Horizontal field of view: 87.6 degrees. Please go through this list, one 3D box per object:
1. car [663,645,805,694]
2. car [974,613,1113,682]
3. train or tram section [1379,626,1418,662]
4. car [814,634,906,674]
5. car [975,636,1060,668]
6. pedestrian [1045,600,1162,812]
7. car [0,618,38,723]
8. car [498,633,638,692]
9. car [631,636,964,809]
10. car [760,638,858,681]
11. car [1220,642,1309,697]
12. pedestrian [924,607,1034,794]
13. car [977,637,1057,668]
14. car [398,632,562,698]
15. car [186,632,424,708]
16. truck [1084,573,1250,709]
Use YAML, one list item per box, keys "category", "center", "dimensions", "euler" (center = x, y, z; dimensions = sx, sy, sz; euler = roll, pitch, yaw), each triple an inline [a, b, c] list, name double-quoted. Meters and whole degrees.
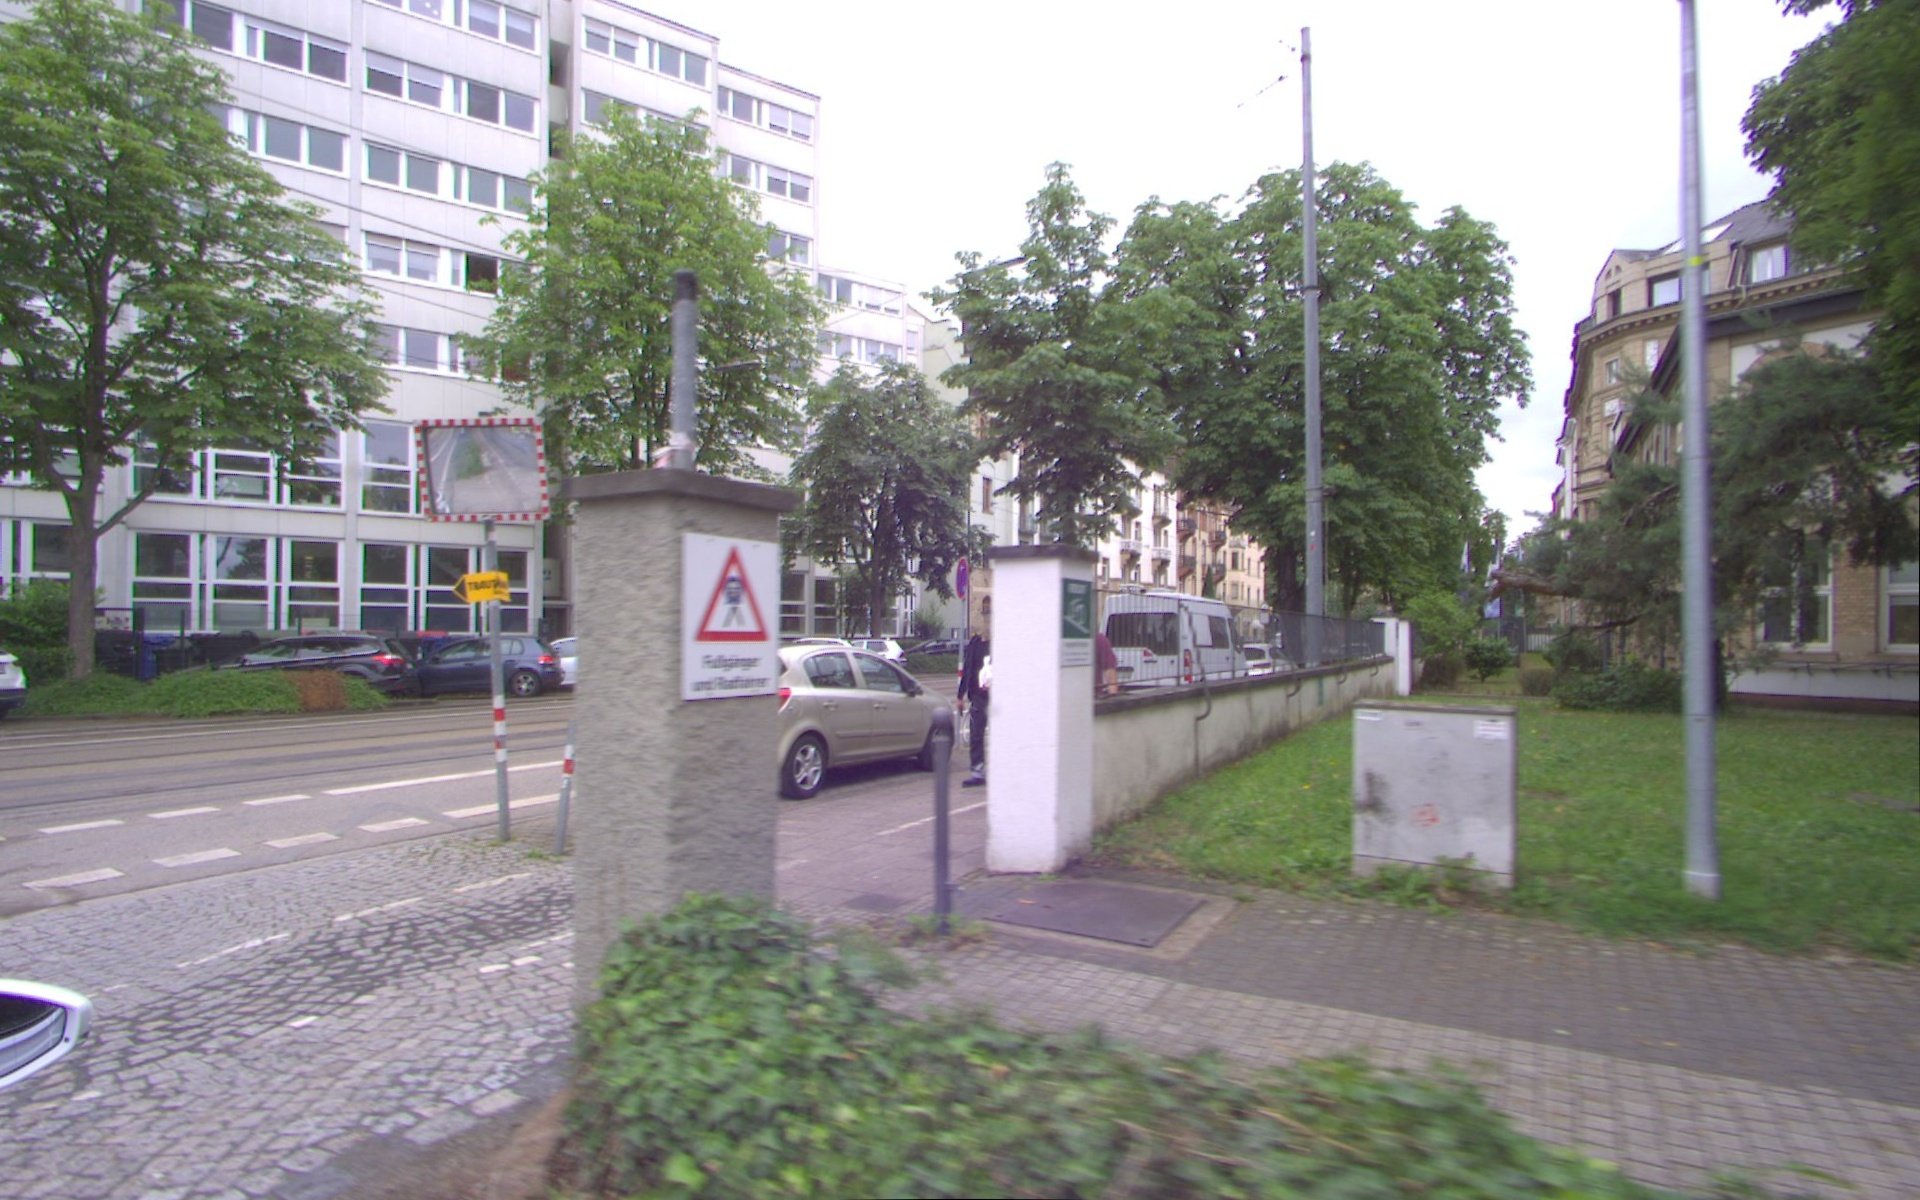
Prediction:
- category: "car"
  center: [-7.392, 2.250, 32.717]
  dimensions: [4.420, 1.491, 1.415]
  euler: [0, -4, -18]
- category: "car"
  center: [2.384, 1.262, 27.279]
  dimensions: [1.971, 1.725, 4.580]
  euler: [0, -2, 31]
- category: "train or tram section"
  center: [47.534, 4.622, 108.277]
  dimensions: [2.628, 3.660, 12.404]
  euler: [0, -1, 30]
- category: "car"
  center: [-3.839, 2.042, 38.291]
  dimensions: [3.328, 1.493, 1.415]
  euler: [1, -1, -14]
- category: "car"
  center: [2.693, 2.447, 47.142]
  dimensions: [3.723, 1.461, 1.692]
  euler: [1, -1, -10]
- category: "pedestrian"
  center: [1.282, 0.886, 8.815]
  dimensions: [0.795, 1.740, 0.953]
  euler: [0, -1, 23]
- category: "car"
  center: [-16.716, 1.104, 15.431]
  dimensions: [3.344, 1.639, 1.555]
  euler: [0, -1, -12]
- category: "car"
  center: [-10.459, 1.651, 26.893]
  dimensions: [3.328, 1.493, 1.415]
  euler: [0, -1, -14]
- category: "car"
  center: [-1.581, 1.162, 10.856]
  dimensions: [1.641, 1.520, 3.577]
  euler: [0, -2, 31]
- category: "car"
  center: [-5.385, 2.096, 35.631]
  dimensions: [3.328, 1.492, 1.415]
  euler: [1, -1, -14]
- category: "car"
  center: [8.556, 1.888, 27.935]
  dimensions: [1.783, 1.371, 3.798]
  euler: [0, -2, 27]
- category: "pedestrian"
  center: [0.202, 0.963, 9.936]
  dimensions: [0.789, 1.740, 0.953]
  euler: [-1, -2, 23]
- category: "car"
  center: [2.816, 2.603, 49.804]
  dimensions: [3.723, 1.461, 1.692]
  euler: [1, -1, -10]
- category: "car"
  center: [-11.418, 1.525, 24.008]
  dimensions: [3.328, 1.493, 1.415]
  euler: [0, -1, -14]
- category: "car"
  center: [-13.723, 1.432, 21.235]
  dimensions: [3.885, 1.493, 1.670]
  euler: [0, -1, -18]
- category: "truck"
  center: [4.635, 0.875, 21.799]
  dimensions: [2.137, 2.578, 4.908]
  euler: [0, -2, 30]
